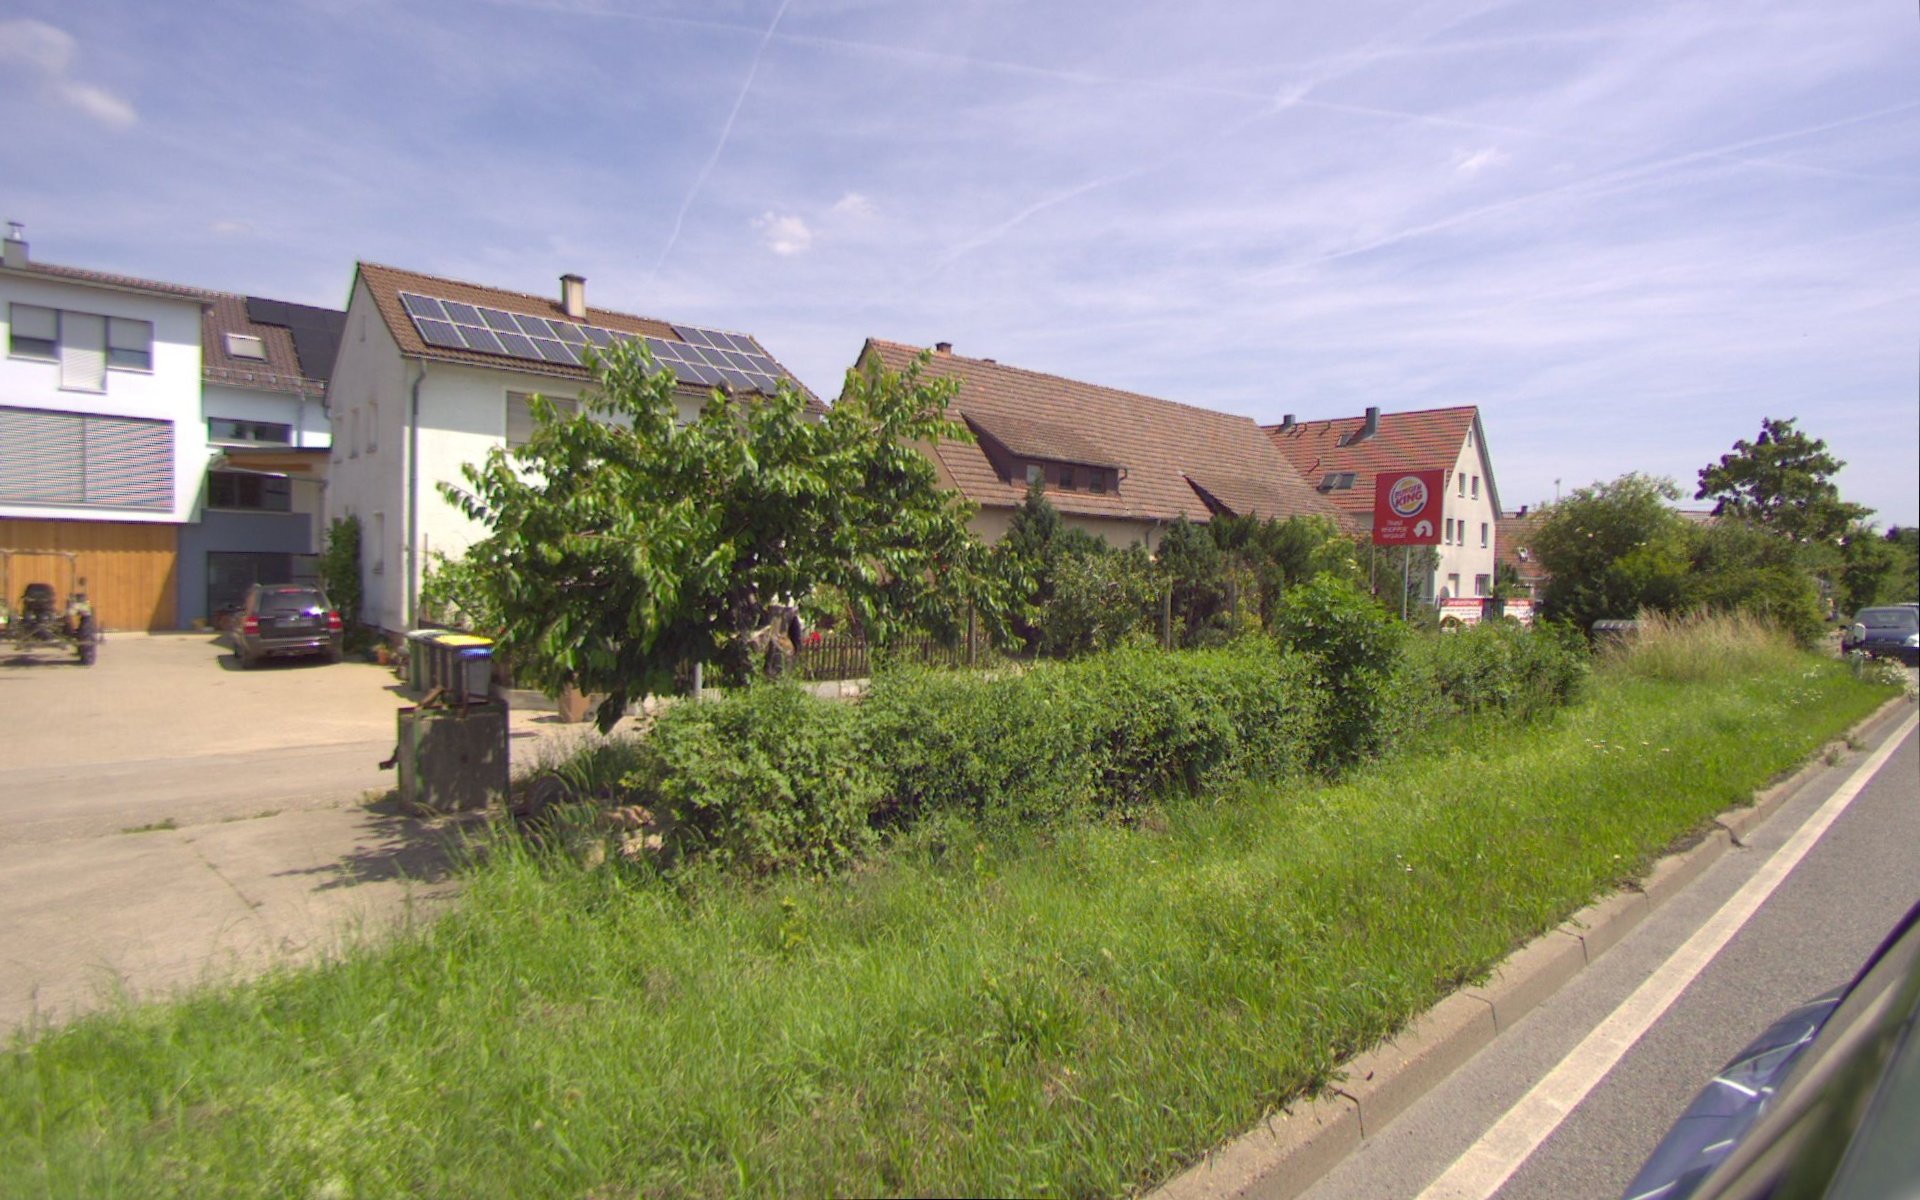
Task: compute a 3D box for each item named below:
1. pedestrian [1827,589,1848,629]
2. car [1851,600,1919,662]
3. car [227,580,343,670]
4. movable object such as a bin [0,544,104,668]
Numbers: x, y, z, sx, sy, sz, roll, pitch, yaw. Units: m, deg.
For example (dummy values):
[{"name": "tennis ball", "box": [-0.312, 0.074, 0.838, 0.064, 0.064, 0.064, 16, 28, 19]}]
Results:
[{"name": "pedestrian", "box": [35.746, 0.359, 41.232, 0.517, 1.568, 0.557, 0, 1, 29]}, {"name": "car", "box": [24.403, 0.764, 26.212, 3.493, 1.504, 1.632, 0, -2, -44]}, {"name": "car", "box": [-14.880, 0.460, 22.232, 1.811, 1.714, 3.958, -1, 2, -38]}, {"name": "movable object such as a bin", "box": [-19.274, 0.052, 21.042, 2.041, 2.373, 3.719, 1, 1, -38]}]
